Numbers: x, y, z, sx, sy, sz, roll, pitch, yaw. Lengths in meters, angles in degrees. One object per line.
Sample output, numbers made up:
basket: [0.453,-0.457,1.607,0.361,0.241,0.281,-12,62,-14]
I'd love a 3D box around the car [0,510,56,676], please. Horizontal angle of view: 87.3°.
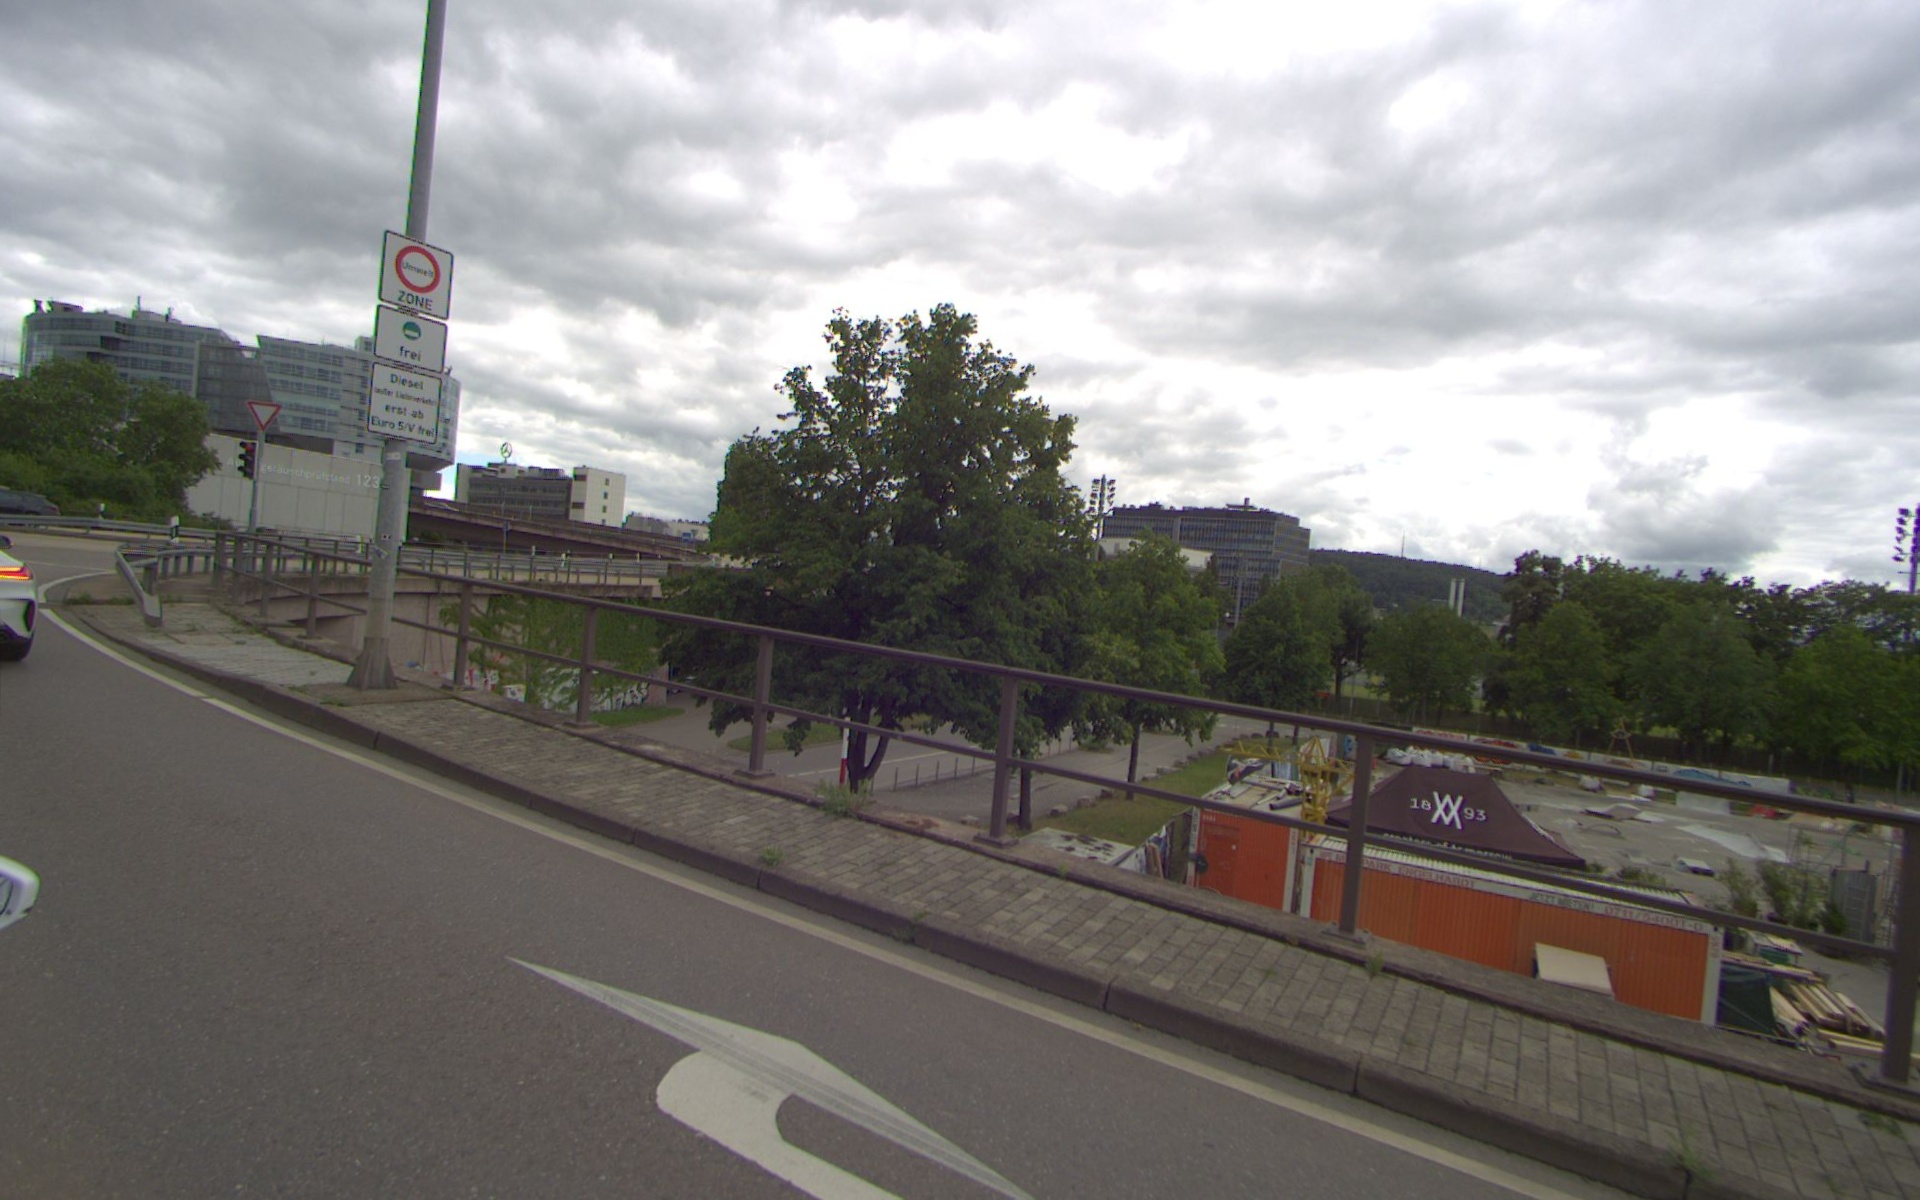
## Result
car: [-9.786,-0.302,8.897,4.198,1.307,1.806,7,-1,37]

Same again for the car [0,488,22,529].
car: [-42.128,-4.120,41.438,1.923,1.590,4.686,8,0,31]

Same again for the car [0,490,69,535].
car: [-38.343,-3.668,39.477,1.921,1.475,4.616,8,0,27]
